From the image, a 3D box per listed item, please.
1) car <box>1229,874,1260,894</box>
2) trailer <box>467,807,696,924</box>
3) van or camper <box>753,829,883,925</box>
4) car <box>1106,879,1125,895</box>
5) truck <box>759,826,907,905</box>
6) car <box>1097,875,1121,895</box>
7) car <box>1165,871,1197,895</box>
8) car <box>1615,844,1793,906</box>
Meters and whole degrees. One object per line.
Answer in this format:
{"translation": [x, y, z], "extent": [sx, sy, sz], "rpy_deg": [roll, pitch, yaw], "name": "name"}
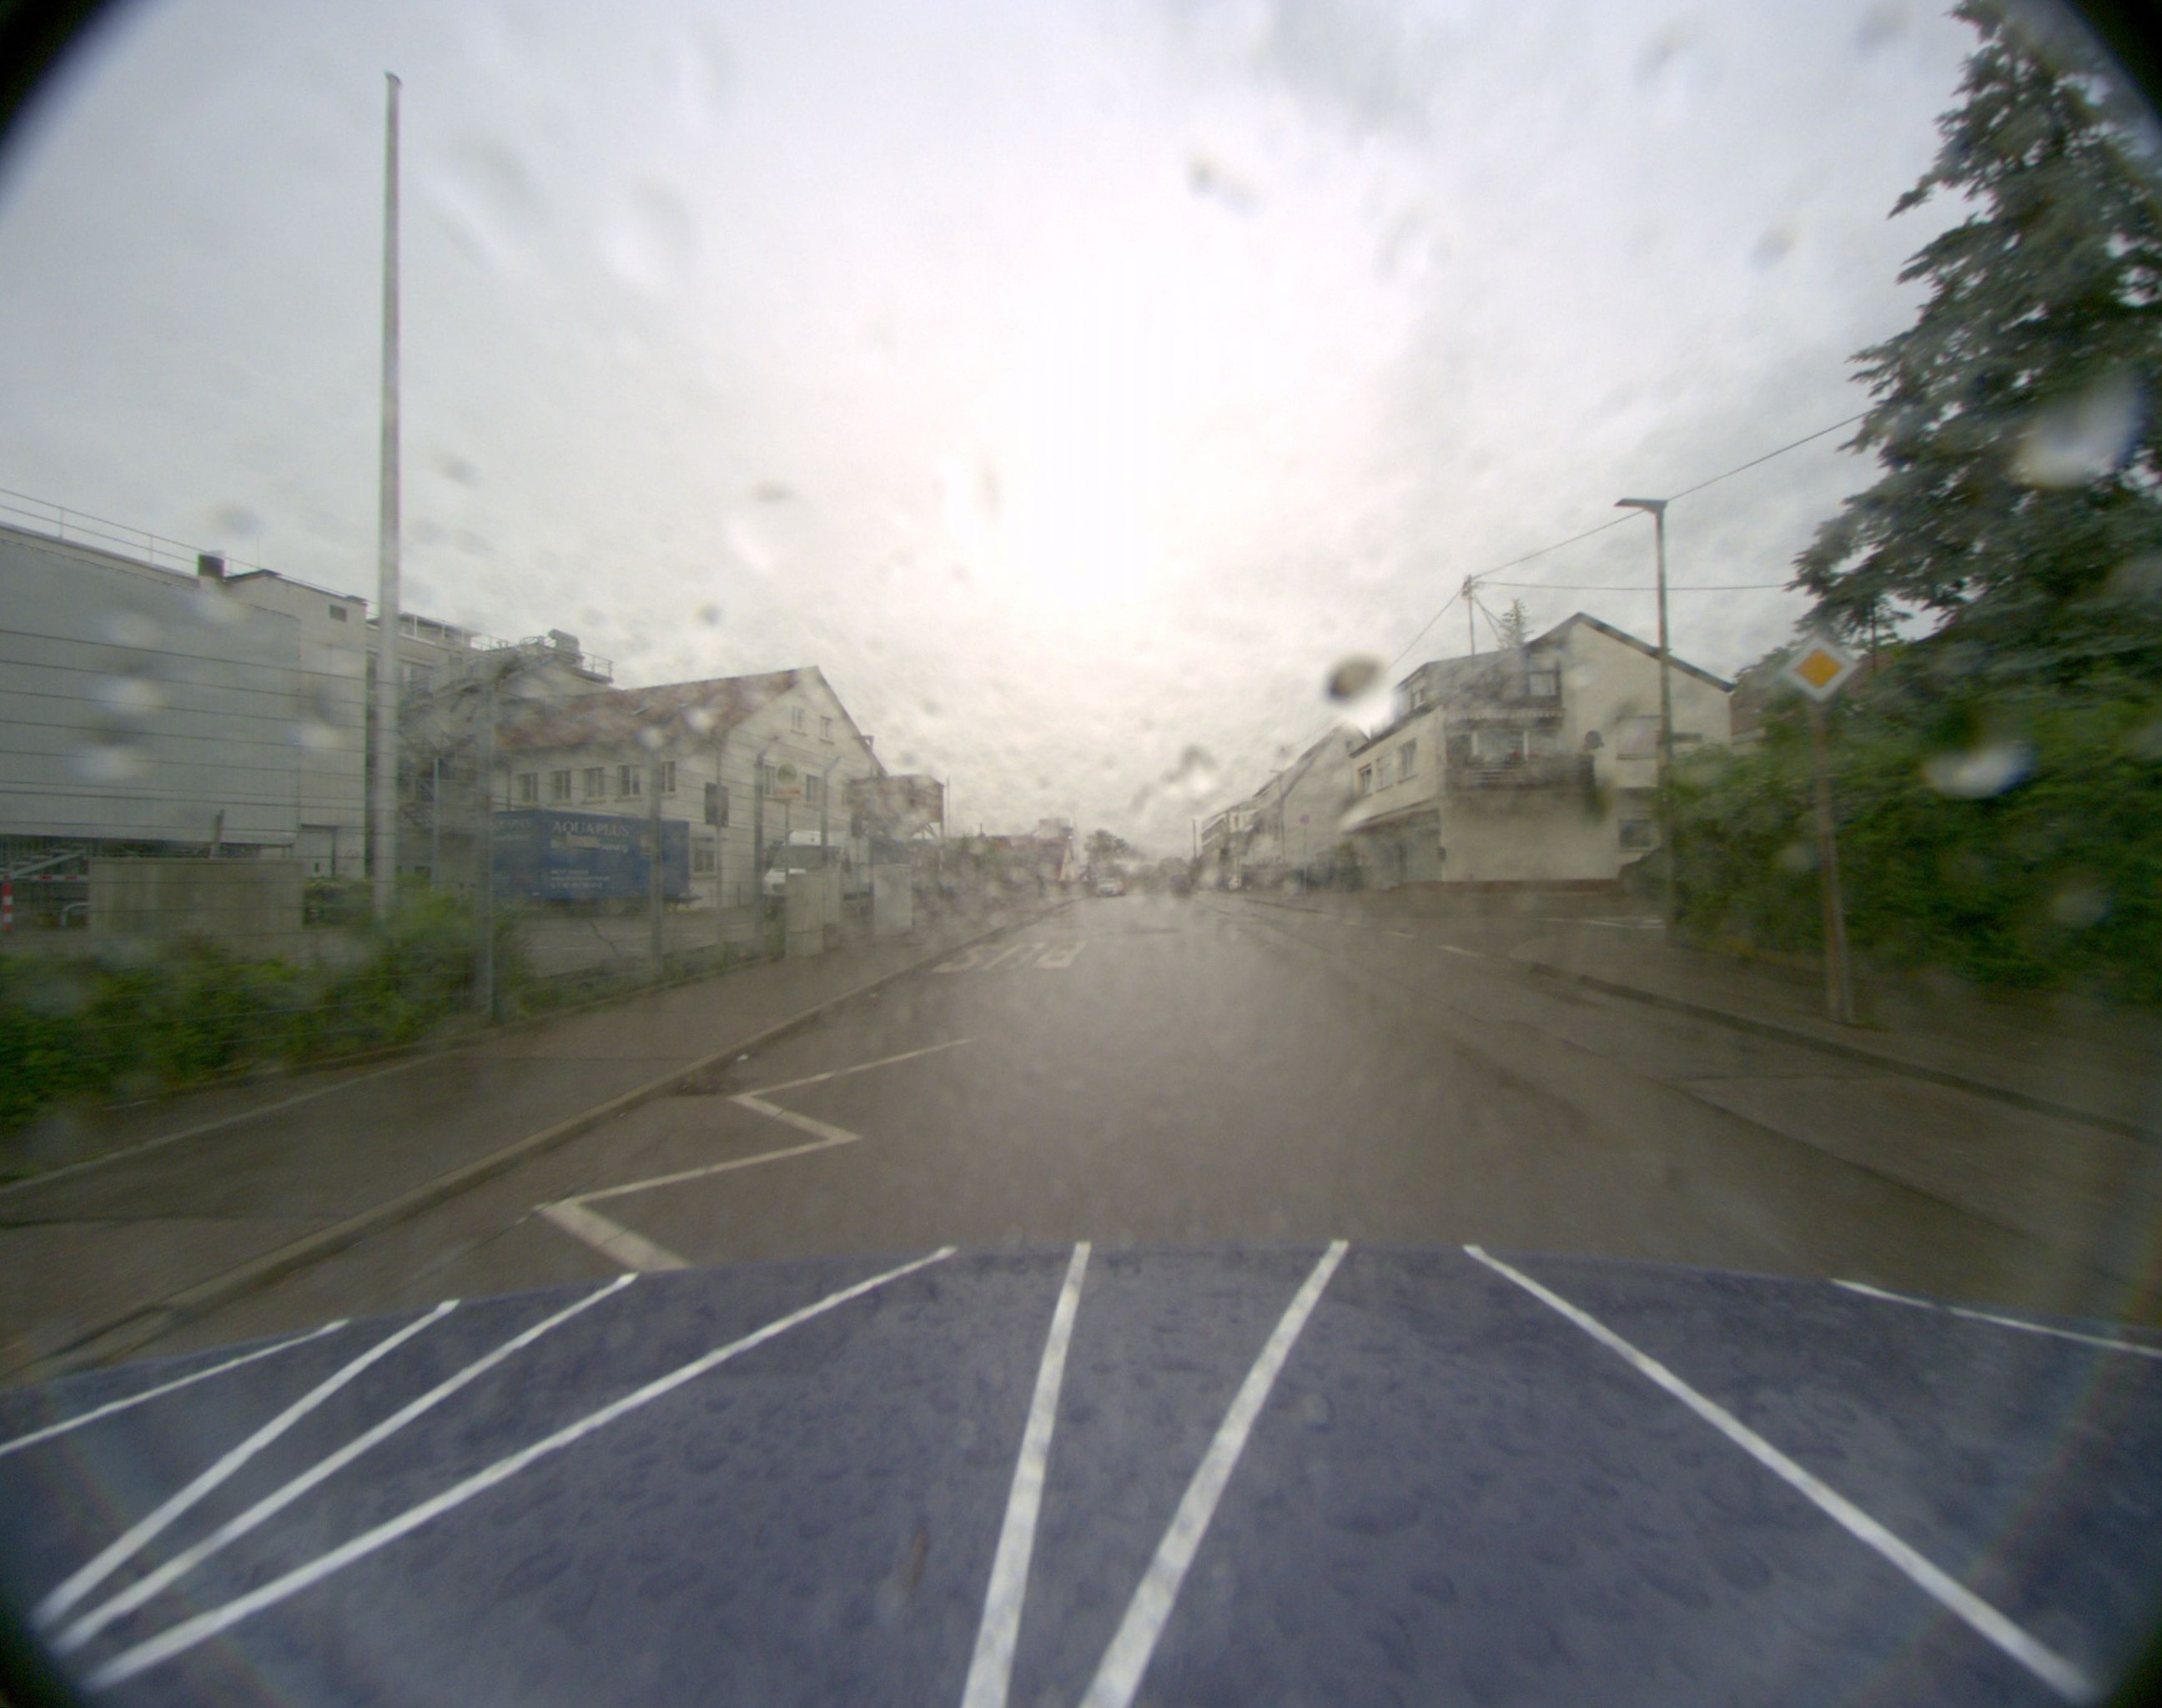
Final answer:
{"translation": [13.618, 2.486, 63.534], "extent": [1.897, 1.523, 4.001], "rpy_deg": [0, 0, 2], "name": "car"}
{"translation": [-14.059, 0.276, 21.783], "extent": [2.631, 2.874, 4.637], "rpy_deg": [-4, 0, 20], "name": "trailer"}
{"translation": [-7.598, 0.620, 22.658], "extent": [2.090, 2.480, 5.804], "rpy_deg": [0, 0, -3], "name": "van or camper"}
{"translation": [3.630, 3.474, 80.010], "extent": [1.897, 1.470, 4.001], "rpy_deg": [0, 0, 2], "name": "car"}
{"translation": [-10.229, 0.445, 32.301], "extent": [2.322, 2.951, 7.141], "rpy_deg": [-1, 0, 16], "name": "truck"}
{"translation": [2.331, 2.585, 63.232], "extent": [1.897, 1.537, 4.001], "rpy_deg": [0, 0, 2], "name": "car"}
{"translation": [6.959, 2.015, 53.264], "extent": [1.897, 1.523, 4.001], "rpy_deg": [0, 0, 2], "name": "car"}
{"translation": [18.139, 0.569, 22.435], "extent": [1.998, 1.647, 4.200], "rpy_deg": [0, 0, 4], "name": "car"}
